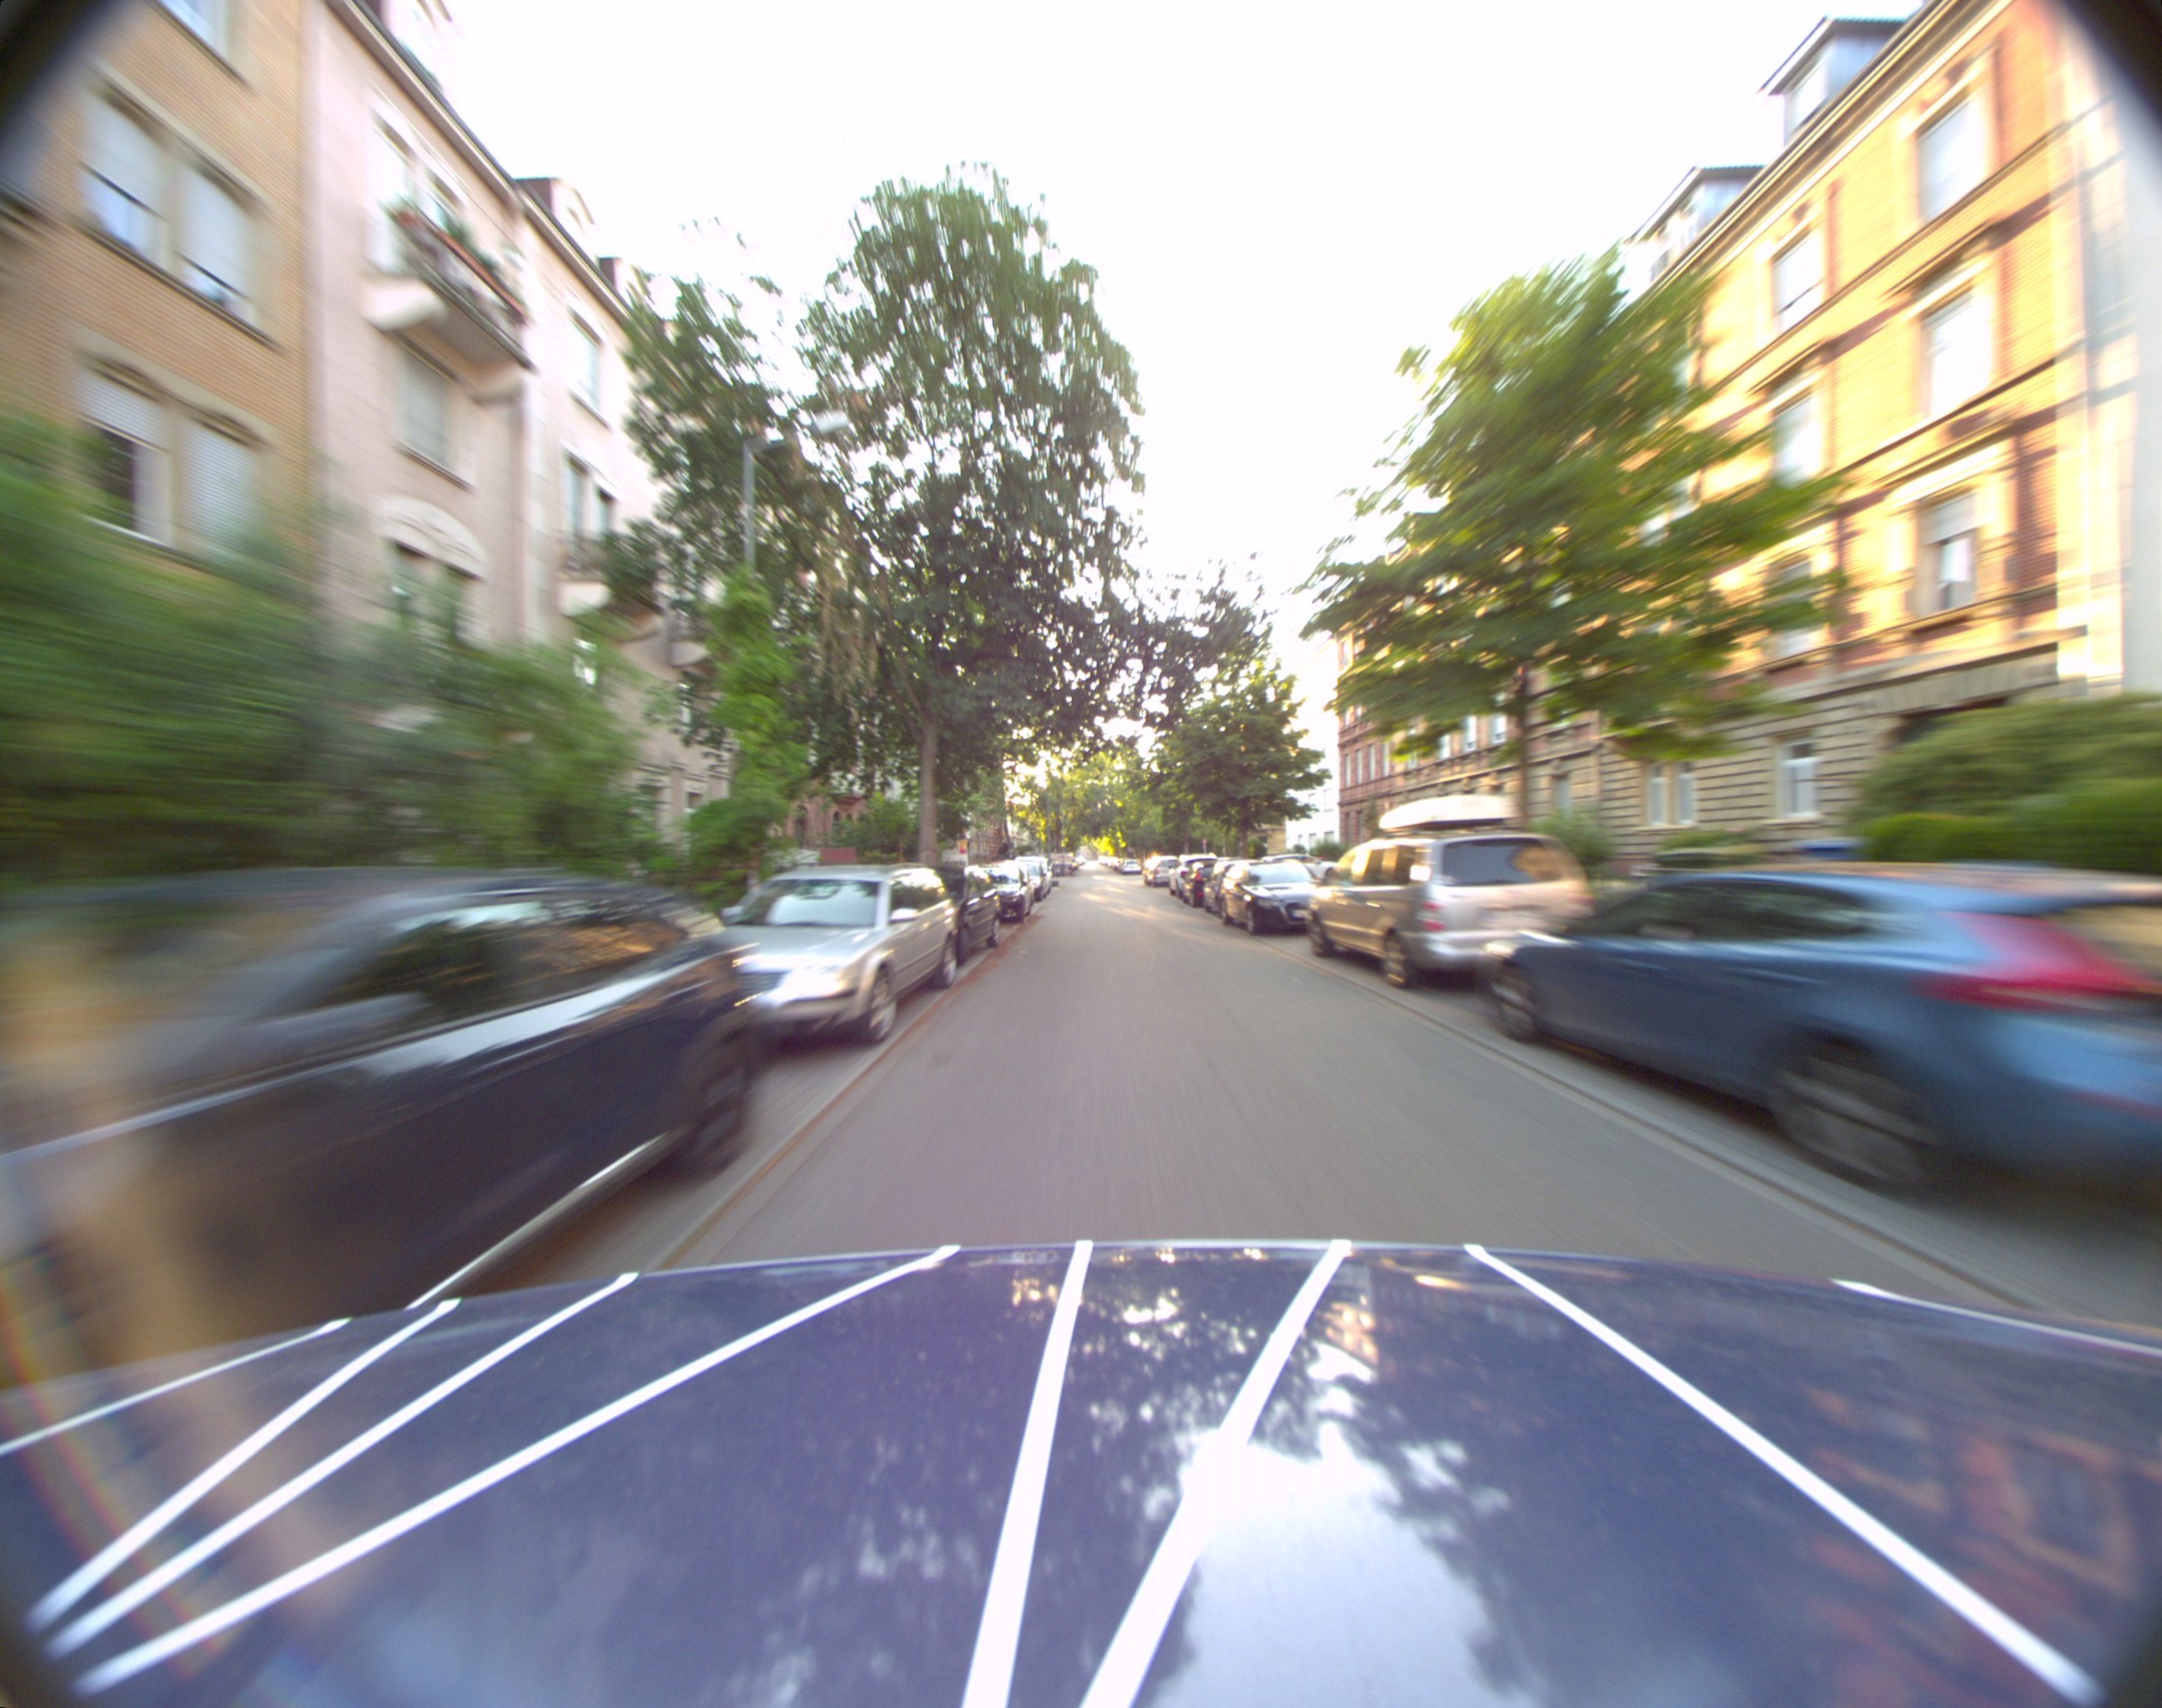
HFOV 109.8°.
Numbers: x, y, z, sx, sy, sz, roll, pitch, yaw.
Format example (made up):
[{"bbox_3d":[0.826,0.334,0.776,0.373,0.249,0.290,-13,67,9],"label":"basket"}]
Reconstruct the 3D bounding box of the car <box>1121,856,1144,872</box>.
[{"bbox_3d":[5.097,0.996,75.372,1.953,1.484,3.738,-2,0,0],"label":"car"}]

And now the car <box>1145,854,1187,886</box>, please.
[{"bbox_3d":[4.606,0.819,41.695,1.677,1.627,3.940,-2,0,-2],"label":"car"}]

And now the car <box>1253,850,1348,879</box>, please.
[{"bbox_3d":[11.279,0.515,39.154,4.412,1.333,1.626,-2,0,2],"label":"car"}]

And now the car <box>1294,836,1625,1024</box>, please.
[{"bbox_3d":[4.315,0.734,9.676,1.866,1.768,4.623,-2,0,0],"label":"car"}]

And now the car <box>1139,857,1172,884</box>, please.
[{"bbox_3d":[4.478,0.949,46.051,1.504,1.484,3.987,-2,0,-1],"label":"car"}]

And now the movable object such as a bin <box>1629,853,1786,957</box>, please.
[{"bbox_3d":[9.107,0.698,11.133,0.948,1.379,1.551,-3,0,-3],"label":"movable object such as a bin"}]

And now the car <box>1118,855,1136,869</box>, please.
[{"bbox_3d":[5.259,0.937,86.597,1.840,1.484,3.641,-2,0,0],"label":"car"}]

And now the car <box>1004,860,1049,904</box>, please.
[{"bbox_3d":[-2.067,1.025,29.592,1.502,1.538,3.338,-2,0,-1],"label":"car"}]

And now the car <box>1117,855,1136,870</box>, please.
[{"bbox_3d":[4.832,0.915,81.015,1.840,1.484,3.641,-2,0,0],"label":"car"}]

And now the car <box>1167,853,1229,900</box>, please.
[{"bbox_3d":[4.556,0.826,30.136,1.866,1.653,4.021,-2,0,2],"label":"car"}]

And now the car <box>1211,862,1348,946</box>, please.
[{"bbox_3d":[3.975,0.936,15.926,1.732,1.433,4.024,-2,0,-1],"label":"car"}]

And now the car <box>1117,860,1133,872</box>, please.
[{"bbox_3d":[5.702,1.585,99.044,1.840,1.484,3.641,-2,0,0],"label":"car"}]

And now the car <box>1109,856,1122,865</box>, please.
[{"bbox_3d":[5.678,1.049,125.214,1.840,1.484,3.641,-2,0,0],"label":"car"}]

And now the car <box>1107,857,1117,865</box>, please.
[{"bbox_3d":[6.362,1.454,154.498,1.840,1.484,3.641,-2,0,0],"label":"car"}]

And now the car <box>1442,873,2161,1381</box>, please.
[{"bbox_3d":[4.264,0.913,4.670,1.866,1.404,4.590,-2,0,0],"label":"car"}]

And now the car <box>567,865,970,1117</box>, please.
[{"bbox_3d":[-2.499,0.983,7.617,1.760,1.573,4.842,-3,0,3],"label":"car"}]

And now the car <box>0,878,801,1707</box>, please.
[{"bbox_3d":[-2.653,0.946,2.364,1.724,1.542,4.326,-2,0,3],"label":"car"}]

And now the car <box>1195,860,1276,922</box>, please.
[{"bbox_3d":[4.099,0.938,20.642,1.441,1.485,3.298,-2,0,-1],"label":"car"}]

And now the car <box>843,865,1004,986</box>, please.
[{"bbox_3d":[-2.322,1.000,12.112,1.590,1.516,3.603,-3,0,3],"label":"car"}]

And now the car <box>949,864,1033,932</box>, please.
[{"bbox_3d":[-2.252,1.057,19.976,1.737,1.498,4.163,-2,0,-1],"label":"car"}]

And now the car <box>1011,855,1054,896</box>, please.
[{"bbox_3d":[-2.173,0.938,35.211,1.737,1.692,4.168,-2,0,-1],"label":"car"}]

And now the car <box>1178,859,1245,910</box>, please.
[{"bbox_3d":[4.230,0.938,25.099,1.682,1.489,3.626,-2,0,3],"label":"car"}]

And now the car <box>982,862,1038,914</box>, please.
[{"bbox_3d":[-2.282,1.066,25.192,1.479,1.498,3.928,-2,0,-1],"label":"car"}]
